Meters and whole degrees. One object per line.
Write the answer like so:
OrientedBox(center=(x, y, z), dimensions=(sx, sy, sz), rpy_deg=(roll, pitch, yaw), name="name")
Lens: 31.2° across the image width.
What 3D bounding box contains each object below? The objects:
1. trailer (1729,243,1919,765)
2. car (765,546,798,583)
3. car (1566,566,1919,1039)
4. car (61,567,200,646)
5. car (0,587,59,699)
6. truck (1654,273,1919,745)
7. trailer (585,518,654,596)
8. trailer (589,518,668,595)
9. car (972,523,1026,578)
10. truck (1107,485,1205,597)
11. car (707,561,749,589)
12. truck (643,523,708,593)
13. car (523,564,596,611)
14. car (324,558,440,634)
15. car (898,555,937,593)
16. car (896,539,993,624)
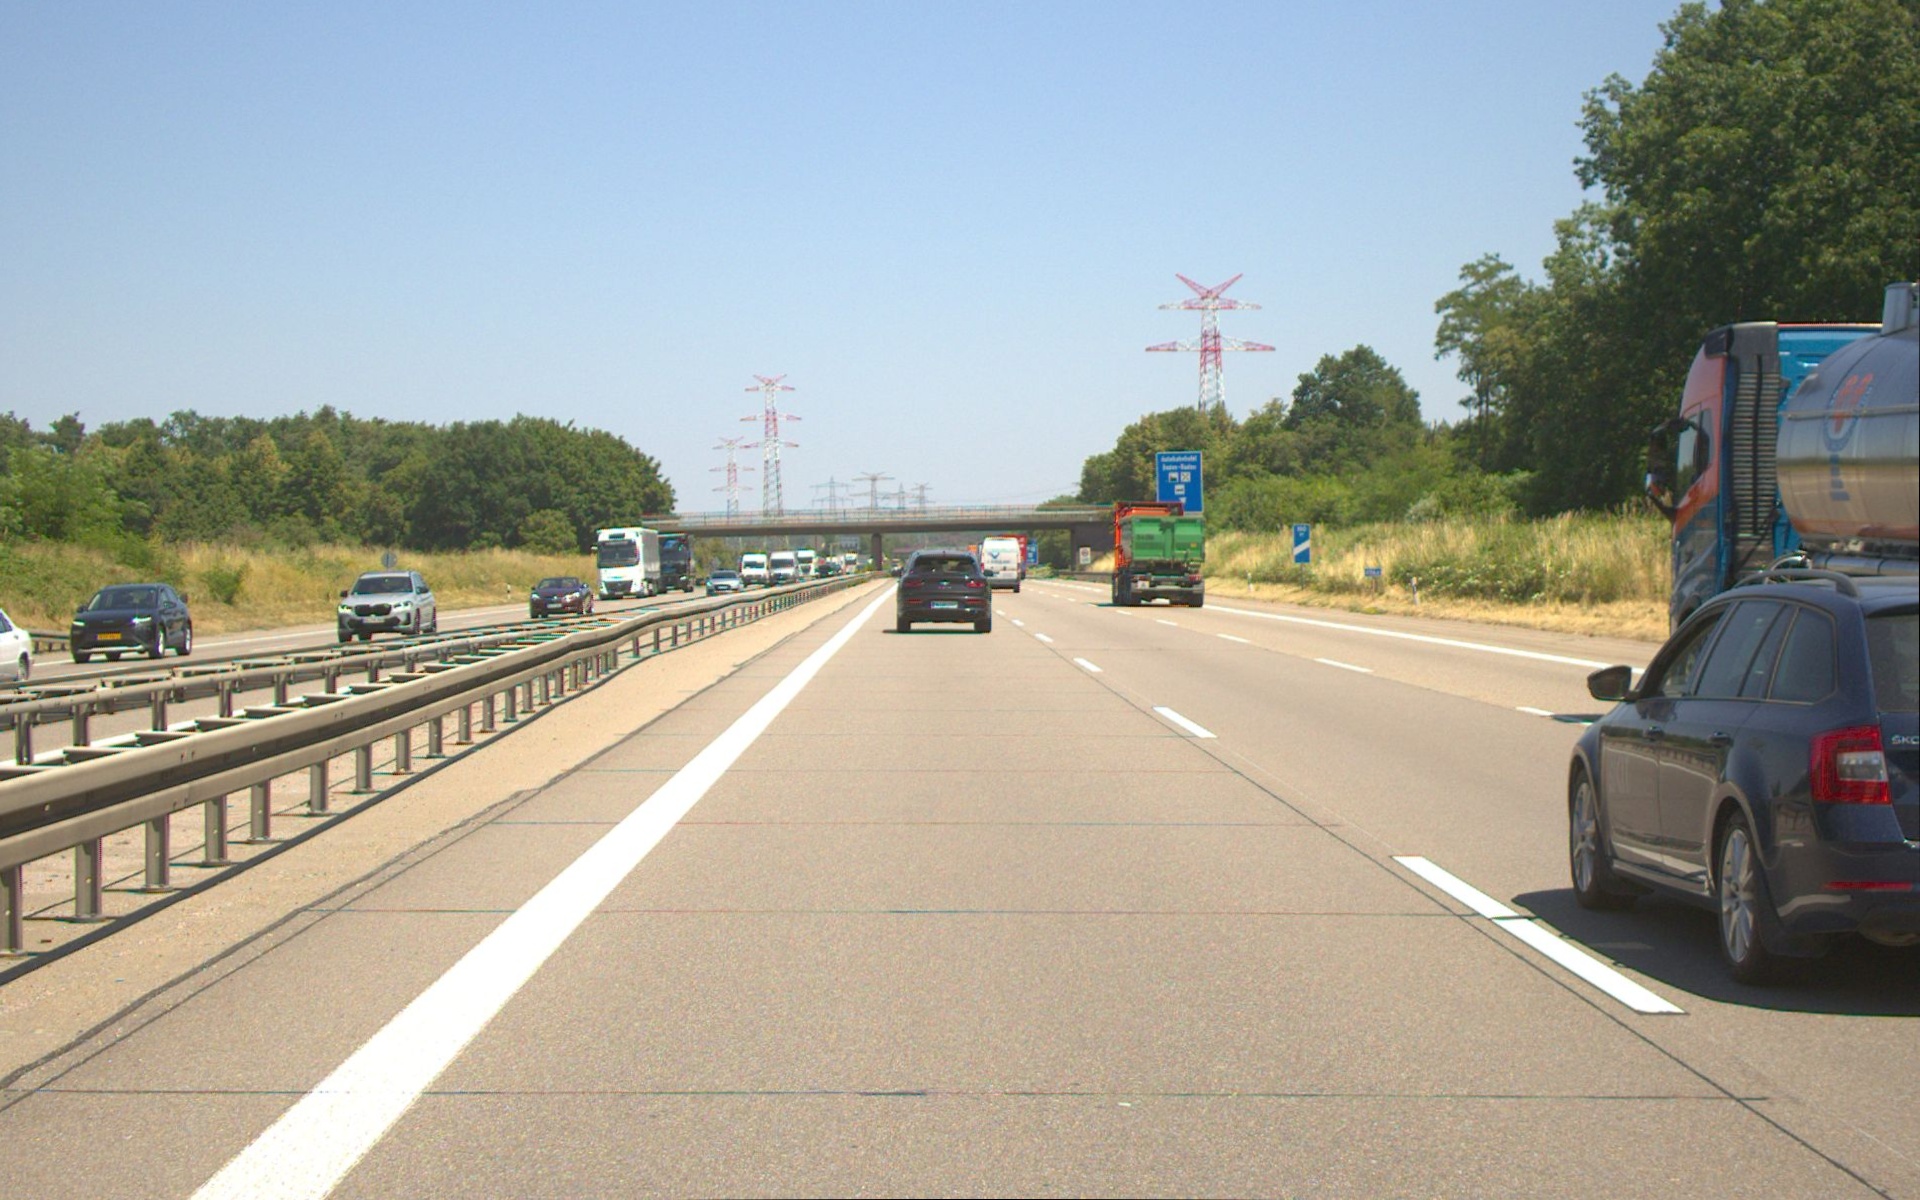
OrientedBox(center=(8.104, -0.672, 24.417), dimensions=(2.529, 3.721, 11.549), rpy_deg=(1, 1, -1), name="trailer")
OrientedBox(center=(-12.893, -2.608, 248.943), dimensions=(1.993, 2.561, 6.390), rpy_deg=(-3, 1, 0), name="car")
OrientedBox(center=(3.620, 0.629, 13.003), dimensions=(1.801, 1.478, 4.272), rpy_deg=(1, 1, -1), name="car")
OrientedBox(center=(-17.821, 0.111, 74.034), dimensions=(1.831, 1.548, 4.950), rpy_deg=(-2, 1, -1), name="car")
OrientedBox(center=(-13.123, 0.586, 44.226), dimensions=(1.806, 1.391, 4.480), rpy_deg=(-2, 1, 1), name="car")
OrientedBox(center=(8.034, -0.743, 30.218), dimensions=(2.529, 3.721, 6.099), rpy_deg=(1, 1, -1), name="truck")
OrientedBox(center=(-19.281, -2.453, 194.926), dimensions=(3.155, 4.184, 6.326), rpy_deg=(-3, 1, 0), name="trailer")
OrientedBox(center=(-19.395, -2.538, 201.875), dimensions=(3.155, 4.184, 14.126), rpy_deg=(-3, 1, 0), name="trailer")
OrientedBox(center=(1.964, -2.535, 175.905), dimensions=(2.621, 2.750, 6.096), rpy_deg=(1, 1, 0), name="car")
OrientedBox(center=(6.994, -2.092, 124.099), dimensions=(2.681, 3.785, 12.479), rpy_deg=(1, 1, 0), name="truck")
OrientedBox(center=(-12.534, -1.383, 186.158), dimensions=(1.962, 1.424, 5.291), rpy_deg=(-2, 1, -1), name="car")
OrientedBox(center=(-19.920, -2.959, 241.493), dimensions=(3.377, 4.609, 12.187), rpy_deg=(-3, 1, 0), name="truck")
OrientedBox(center=(-13.869, -0.463, 119.309), dimensions=(1.962, 1.520, 5.291), rpy_deg=(-2, 1, -1), name="car")
OrientedBox(center=(-13.947, -0.124, 83.257), dimensions=(1.962, 1.712, 5.291), rpy_deg=(-2, 1, -1), name="car")
OrientedBox(center=(-2.001, -1.236, 162.129), dimensions=(1.794, 1.744, 4.000), rpy_deg=(1, 1, -1), name="car")
OrientedBox(center=(-0.345, -0.411, 73.123), dimensions=(1.993, 1.744, 4.000), rpy_deg=(1, 1, -1), name="car")
